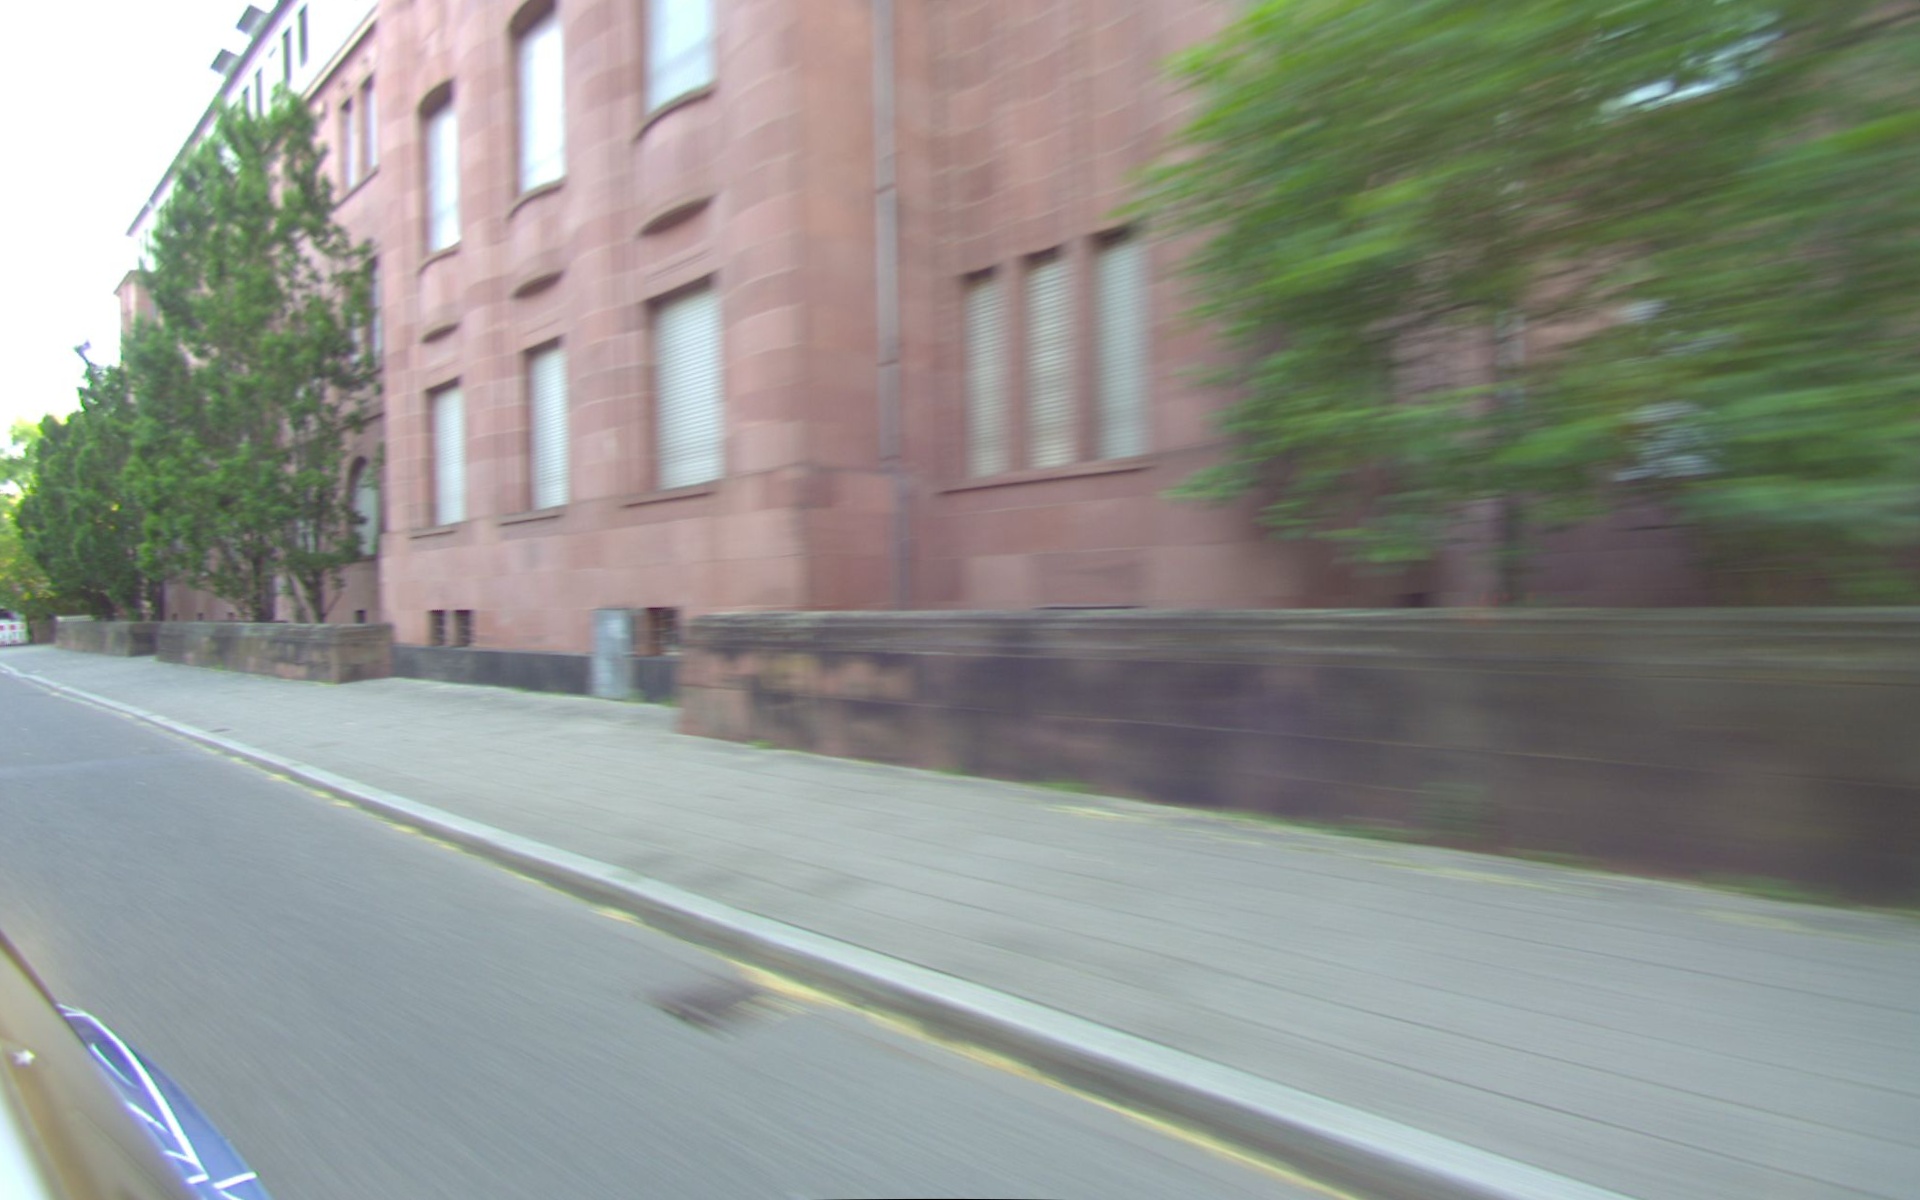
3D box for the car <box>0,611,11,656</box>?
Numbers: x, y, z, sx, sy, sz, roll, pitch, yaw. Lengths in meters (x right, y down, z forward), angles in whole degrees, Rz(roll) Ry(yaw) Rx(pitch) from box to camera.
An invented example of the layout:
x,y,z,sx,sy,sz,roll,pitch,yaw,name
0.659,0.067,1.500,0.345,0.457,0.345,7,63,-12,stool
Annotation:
x,y,z,sx,sy,sz,roll,pitch,yaw,name
-47.494,1.599,49.080,4.325,2.067,1.861,0,0,43,car
